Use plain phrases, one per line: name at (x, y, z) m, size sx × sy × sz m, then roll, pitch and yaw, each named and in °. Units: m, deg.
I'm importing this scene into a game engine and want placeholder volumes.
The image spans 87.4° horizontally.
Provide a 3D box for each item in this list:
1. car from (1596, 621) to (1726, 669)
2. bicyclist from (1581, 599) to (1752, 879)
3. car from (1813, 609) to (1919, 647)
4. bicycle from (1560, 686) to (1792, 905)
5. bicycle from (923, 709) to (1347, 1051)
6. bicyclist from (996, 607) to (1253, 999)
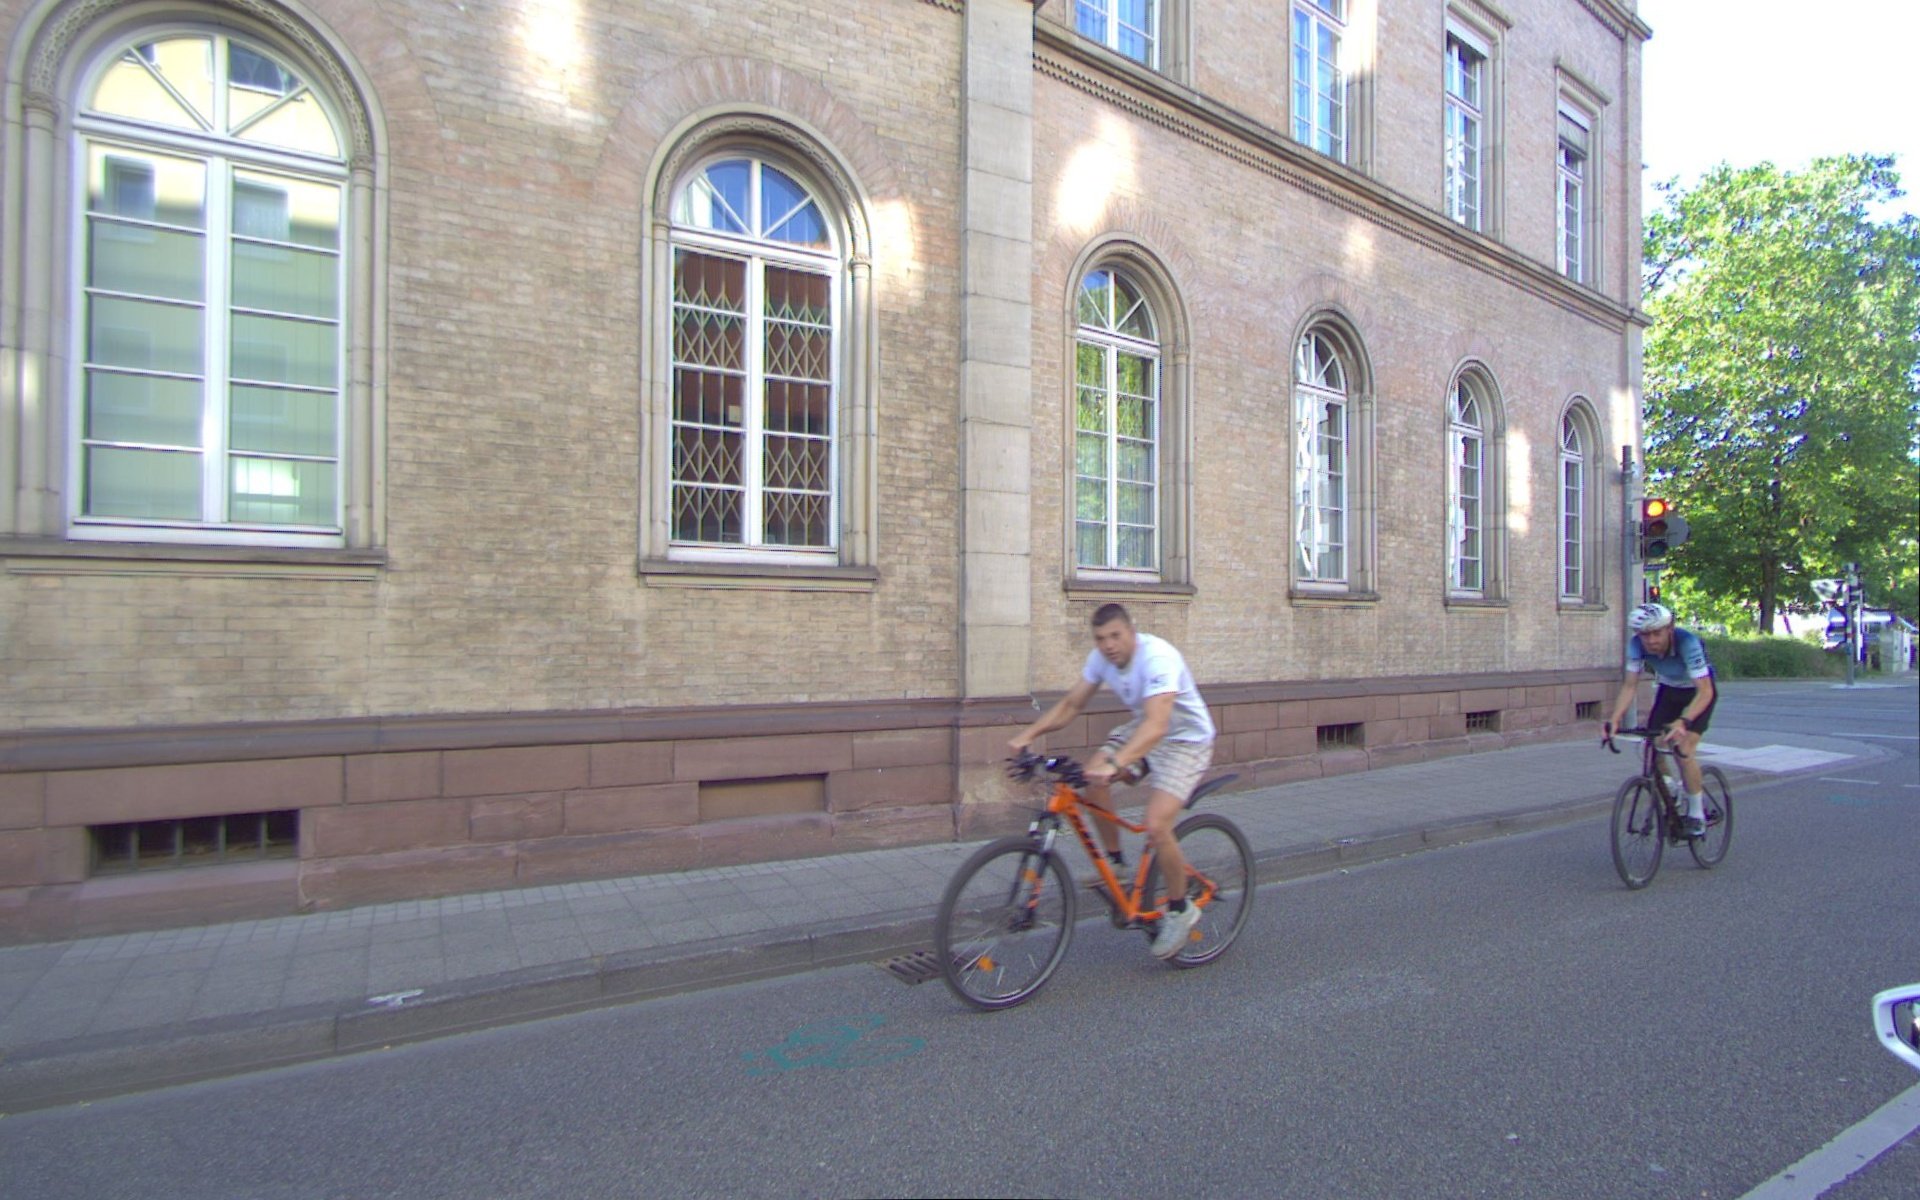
car at (24.388, 1.526, 35.034) m, size 1.636 × 1.476 × 3.382 m, roll 2°, pitch 0°, yaw -39°
bicyclist at (4.498, 0.829, 6.402) m, size 0.817 × 1.650 × 0.622 m, roll 1°, pitch -1°, yaw -33°
car at (53.510, 1.618, 59.396) m, size 1.983 × 2.040 × 4.409 m, roll 2°, pitch 0°, yaw -38°
bicycle at (4.671, 1.188, 6.517) m, size 1.765 × 1.167 × 0.622 m, roll 1°, pitch -1°, yaw -33°
bicycle at (0.837, 1.138, 4.553) m, size 1.946 × 1.167 × 0.623 m, roll 1°, pitch -1°, yaw -29°
bicyclist at (0.725, 0.814, 4.503) m, size 0.907 × 1.543 × 0.699 m, roll 1°, pitch -1°, yaw -29°
